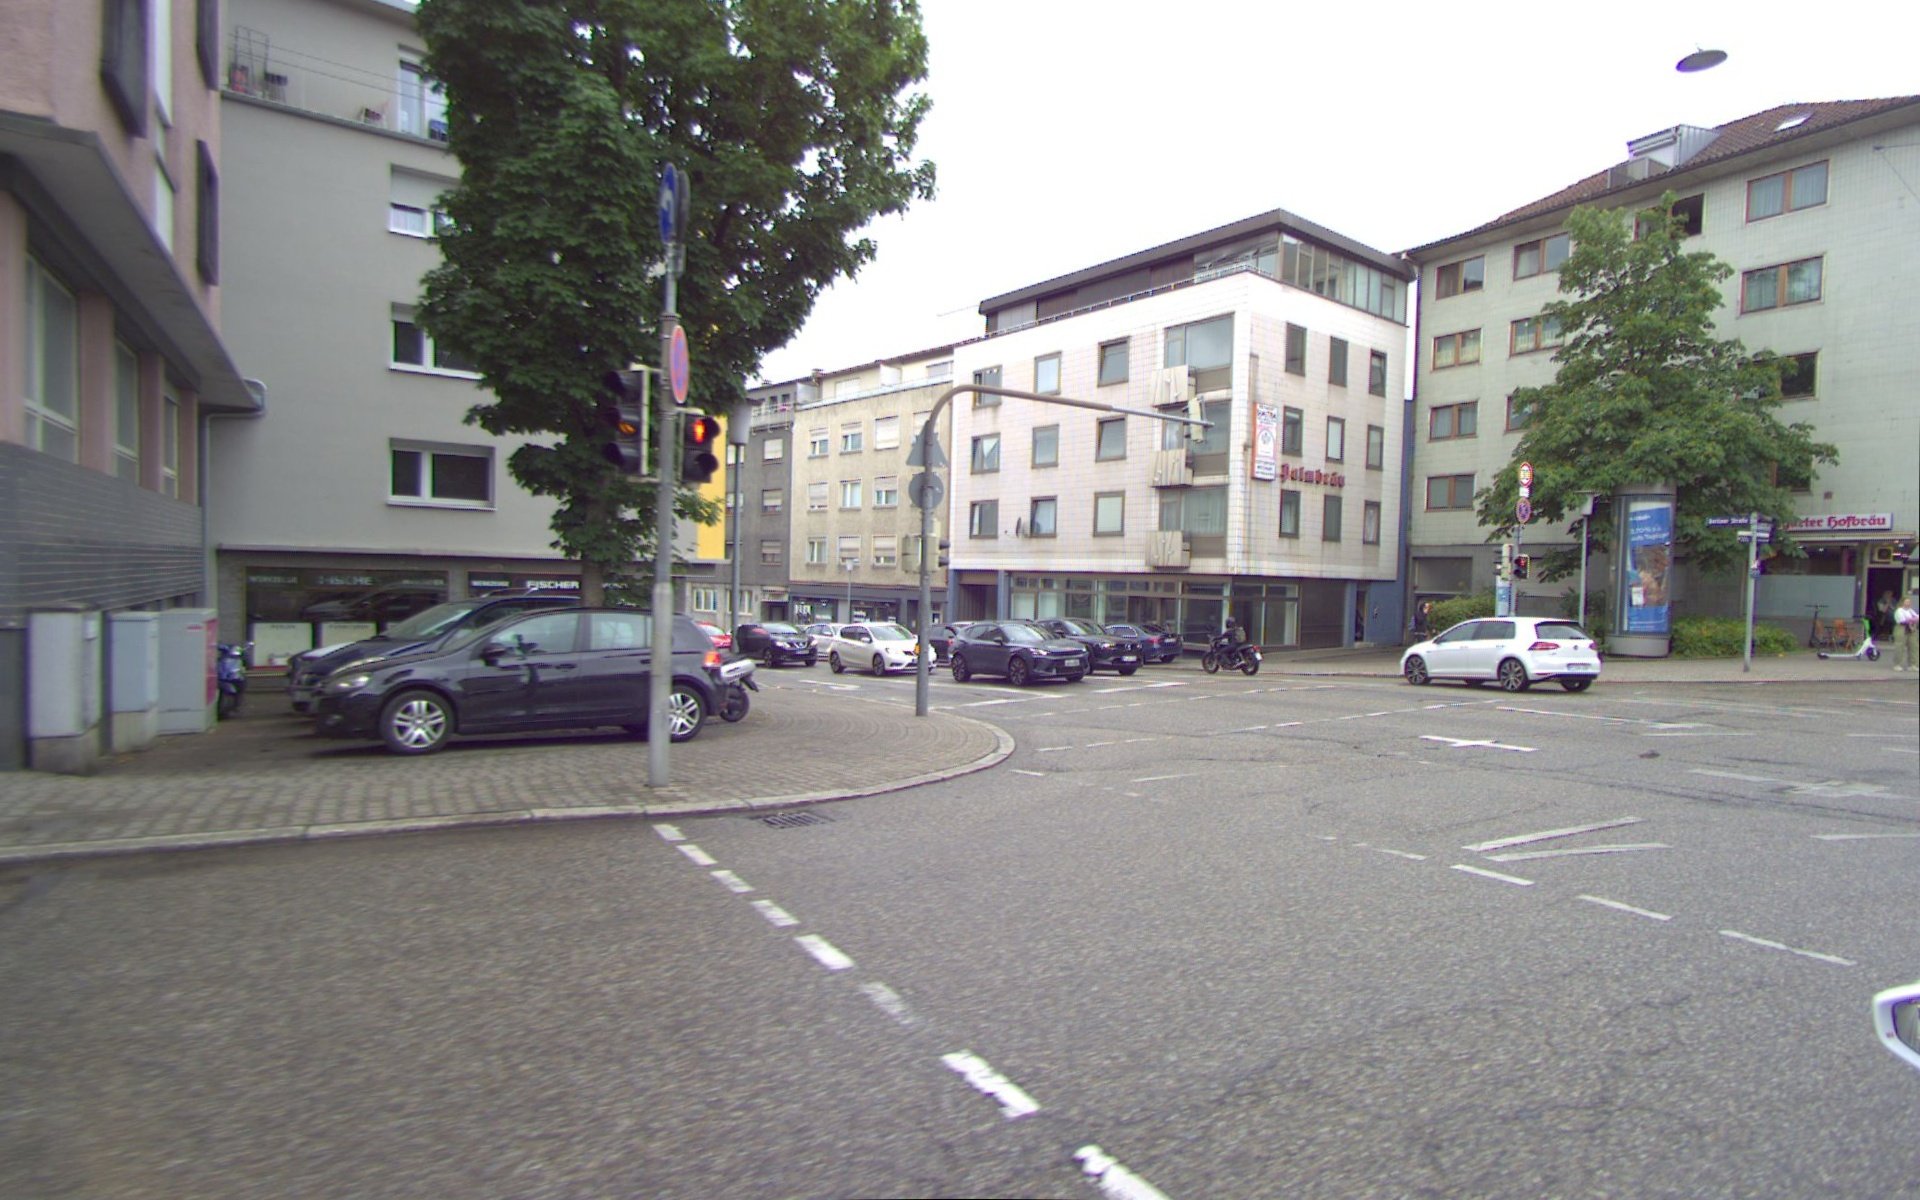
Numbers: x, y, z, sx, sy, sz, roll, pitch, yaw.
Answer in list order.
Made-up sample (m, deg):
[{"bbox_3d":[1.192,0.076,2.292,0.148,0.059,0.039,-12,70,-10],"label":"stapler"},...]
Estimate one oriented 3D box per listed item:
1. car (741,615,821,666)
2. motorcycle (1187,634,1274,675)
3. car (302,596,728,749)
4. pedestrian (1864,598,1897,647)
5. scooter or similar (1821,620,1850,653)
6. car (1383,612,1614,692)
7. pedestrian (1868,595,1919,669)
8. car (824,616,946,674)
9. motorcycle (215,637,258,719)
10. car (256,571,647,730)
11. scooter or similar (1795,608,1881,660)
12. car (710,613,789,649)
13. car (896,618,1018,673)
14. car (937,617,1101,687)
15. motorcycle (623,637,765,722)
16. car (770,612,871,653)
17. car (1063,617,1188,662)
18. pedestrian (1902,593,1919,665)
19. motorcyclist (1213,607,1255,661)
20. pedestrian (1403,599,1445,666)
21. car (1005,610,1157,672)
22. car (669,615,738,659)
[{"bbox_3d":[-6.523,1.410,36.268,1.787,1.653,4.317,-2,0,-24],"label":"car"},{"bbox_3d":[7.526,1.492,27.993,0.859,1.019,2.223,1,0,-42],"label":"motorcycle"},{"bbox_3d":[-4.729,0.743,10.883,3.959,1.378,1.722,2,-2,-34],"label":"car"},{"bbox_3d":[27.489,0.683,30.000,0.572,1.418,0.515,2,2,-34],"label":"pedestrian"},{"bbox_3d":[23.901,0.991,27.436,0.452,0.854,1.317,4,2,37],"label":"scooter or similar"},{"bbox_3d":[11.065,1.056,21.053,1.805,1.481,4.368,0,-2,-14],"label":"car"},{"bbox_3d":[22.155,0.737,23.769,0.696,1.670,0.758,2,4,24],"label":"pedestrian"},{"bbox_3d":[-2.343,1.287,30.316,1.793,1.563,4.338,1,0,-33],"label":"car"},{"bbox_3d":[-11.348,1.190,15.736,0.480,1.105,1.509,2,2,-38],"label":"motorcycle"},{"bbox_3d":[-6.520,0.677,13.366,1.745,1.750,4.332,-3,-4,36],"label":"car"},{"bbox_3d":[22.641,0.863,25.937,1.534,1.206,0.500,4,2,31],"label":"scooter or similar"},{"bbox_3d":[-9.469,1.394,44.905,1.689,1.499,4.243,3,-4,-39],"label":"car"},{"bbox_3d":[-0.172,1.374,31.883,1.793,1.563,4.338,1,0,-33],"label":"car"},{"bbox_3d":[1.347,1.199,24.693,1.805,1.497,4.338,1,0,-33],"label":"car"},{"bbox_3d":[-3.503,1.029,13.325,1.780,1.046,0.448,2,-1,-40],"label":"motorcycle"},{"bbox_3d":[-5.543,1.285,39.488,1.798,1.541,4.508,1,-2,-41],"label":"car"},{"bbox_3d":[5.809,1.393,35.634,1.753,1.410,4.333,-2,0,-37],"label":"car"},{"bbox_3d":[23.084,0.689,23.887,0.696,1.670,0.758,2,4,24],"label":"pedestrian"},{"bbox_3d":[7.608,0.938,27.917,0.901,1.472,0.737,1,0,-43],"label":"motorcyclist"},{"bbox_3d":[13.200,0.907,28.572,0.740,1.842,0.917,-1,2,-2],"label":"pedestrian"},{"bbox_3d":[3.243,1.140,27.698,1.805,1.557,4.340,0,-3,-33],"label":"car"},{"bbox_3d":[-10.588,1.493,41.319,1.593,1.617,3.742,1,0,-34],"label":"car"}]
